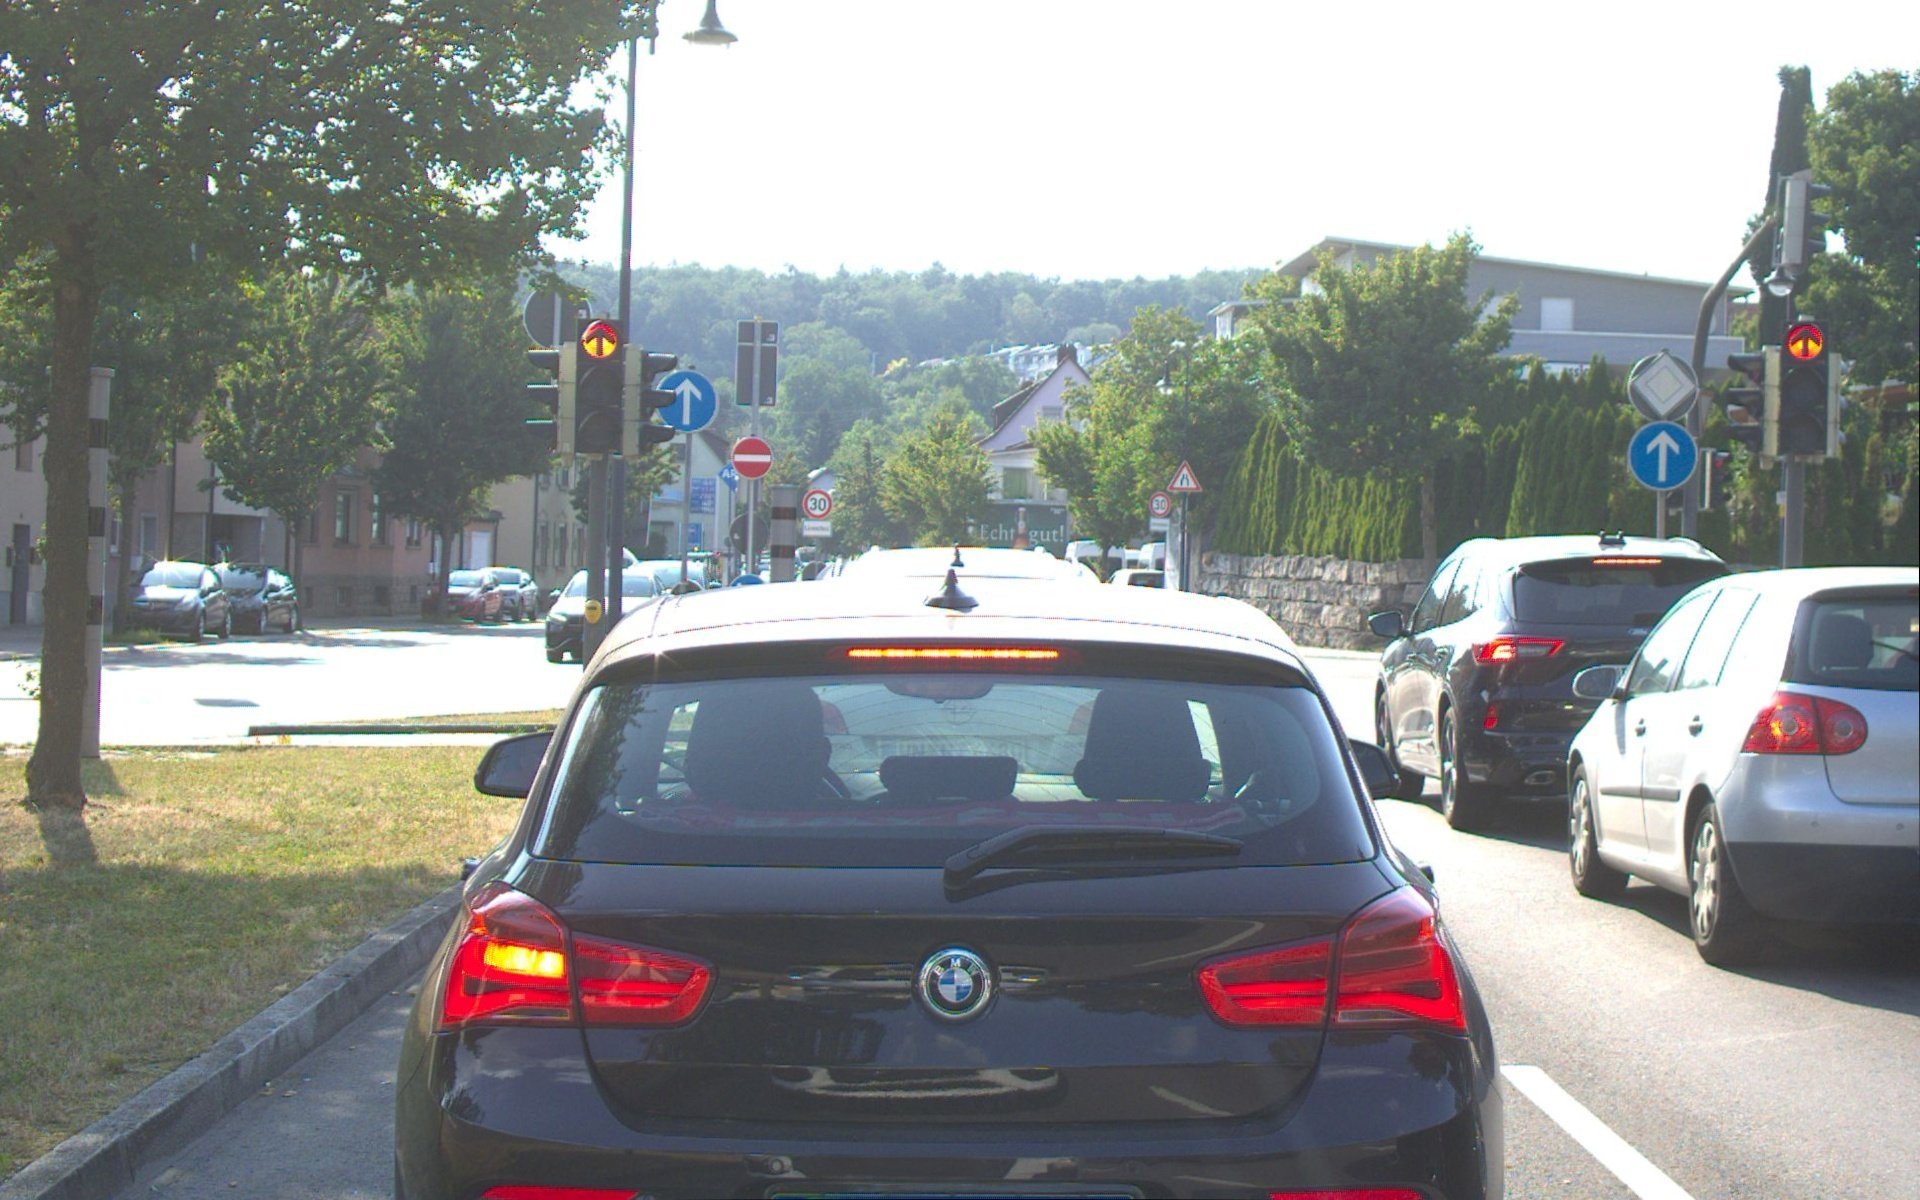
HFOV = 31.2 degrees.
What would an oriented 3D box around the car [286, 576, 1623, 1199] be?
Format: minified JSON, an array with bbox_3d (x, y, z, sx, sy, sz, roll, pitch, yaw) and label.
[{"bbox_3d":[0.022,0.686,6.802,1.791,1.410,4.347,1,1,1],"label":"car"}]

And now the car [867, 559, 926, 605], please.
[{"bbox_3d":[-2.463,-0.704,132.552,1.890,1.696,4.525,-1,1,-6],"label":"car"}]

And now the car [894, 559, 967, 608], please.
[{"bbox_3d":[-0.984,-0.552,111.088,1.861,1.480,4.660,1,1,-6],"label":"car"}]

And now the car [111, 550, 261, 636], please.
[{"bbox_3d":[-15.050,-0.162,67.008,1.924,1.590,4.000,1,1,1],"label":"car"}]

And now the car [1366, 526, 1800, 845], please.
[{"bbox_3d":[3.540,0.417,20.298,1.816,1.660,4.347,1,1,1],"label":"car"}]

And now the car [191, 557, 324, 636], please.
[{"bbox_3d":[-14.886,-0.099,73.021,1.924,1.590,4.000,1,1,1],"label":"car"}]

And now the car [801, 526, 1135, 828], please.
[{"bbox_3d":[0.078,0.387,20.981,1.816,1.635,4.242,1,1,1],"label":"car"}]

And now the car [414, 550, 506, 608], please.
[{"bbox_3d":[-14.132,-0.611,97.306,1.924,1.590,4.000,1,1,1],"label":"car"}]

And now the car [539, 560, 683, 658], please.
[{"bbox_3d":[-5.475,0.115,54.308,1.766,1.453,4.000,1,1,1],"label":"car"}]

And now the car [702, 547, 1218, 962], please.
[{"bbox_3d":[0.035,0.515,14.309,1.816,1.446,4.242,1,1,1],"label":"car"}]

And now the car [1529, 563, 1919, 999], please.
[{"bbox_3d":[3.516,0.594,13.748,1.816,1.441,4.347,1,1,1],"label":"car"}]

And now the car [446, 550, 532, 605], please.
[{"bbox_3d":[-14.066,-0.698,102.811,1.924,1.590,4.000,1,1,1],"label":"car"}]

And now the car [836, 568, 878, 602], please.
[{"bbox_3d":[-5.000,-0.737,167.103,1.924,1.590,4.000,1,1,-1],"label":"car"}]

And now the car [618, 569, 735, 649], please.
[{"bbox_3d":[-5.092,0.144,62.187,1.693,1.348,4.000,1,1,1],"label":"car"}]
